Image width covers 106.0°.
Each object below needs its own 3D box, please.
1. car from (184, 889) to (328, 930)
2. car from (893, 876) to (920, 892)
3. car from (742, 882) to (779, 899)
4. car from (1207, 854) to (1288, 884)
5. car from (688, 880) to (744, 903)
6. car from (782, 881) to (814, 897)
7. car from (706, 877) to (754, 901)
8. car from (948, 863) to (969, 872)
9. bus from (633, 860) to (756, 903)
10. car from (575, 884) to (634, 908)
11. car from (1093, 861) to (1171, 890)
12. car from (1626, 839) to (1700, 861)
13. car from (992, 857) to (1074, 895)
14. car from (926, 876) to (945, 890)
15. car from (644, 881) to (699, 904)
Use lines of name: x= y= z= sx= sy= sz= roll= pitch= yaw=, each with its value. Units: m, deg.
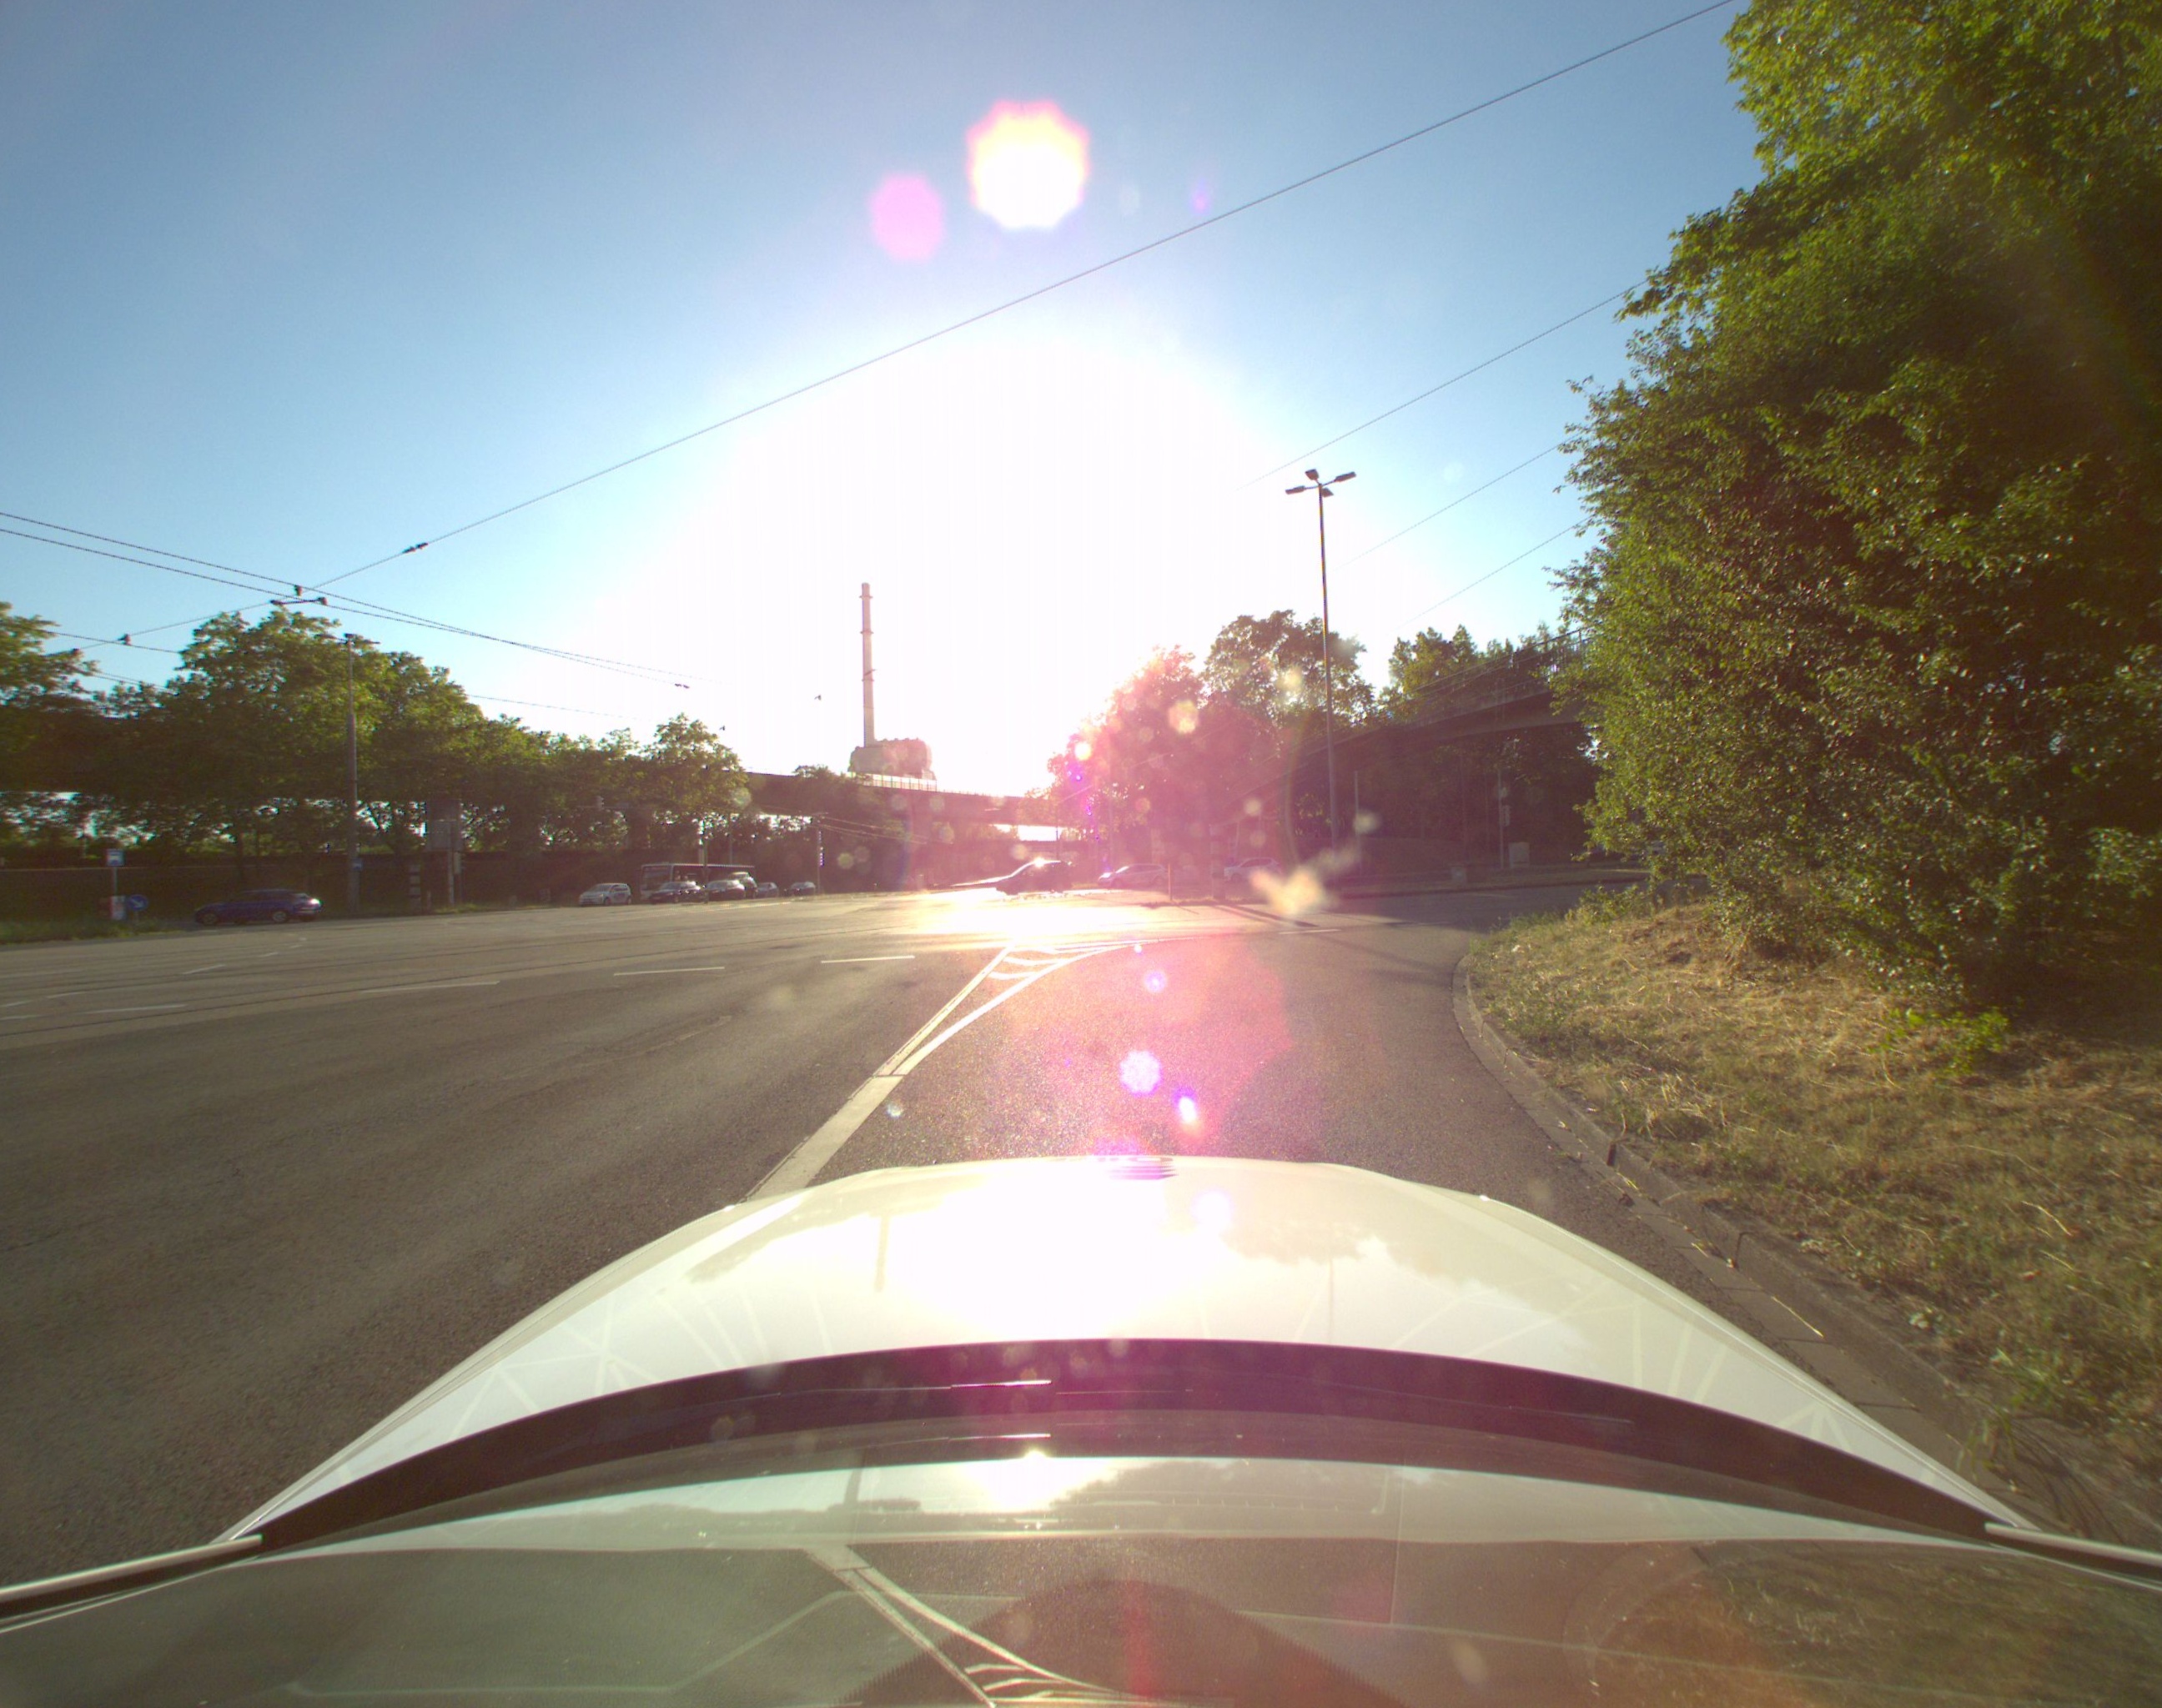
car: x=-35.932 y=2.387 z=35.610 sx=3.928 sy=1.559 sz=1.990 roll=-1 pitch=-1 yaw=-14
car: x=-24.184 y=4.094 z=113.064 sx=1.983 sy=2.014 sz=5.436 roll=-2 pitch=-1 yaw=7
car: x=-29.460 y=3.321 z=75.046 sx=1.693 sy=1.442 sz=4.002 roll=-1 pitch=-1 yaw=2
car: x=9.841 y=0.885 z=48.175 sx=4.305 sy=1.609 sz=1.846 roll=-1 pitch=-1 yaw=-18
car: x=-23.988 y=2.419 z=53.695 sx=1.704 sy=1.354 sz=4.097 roll=-1 pitch=-1 yaw=2
car: x=-28.374 y=3.485 z=81.800 sx=1.693 sy=1.442 sz=4.002 roll=-1 pitch=-1 yaw=2
car: x=-26.760 y=2.662 z=62.198 sx=1.704 sy=1.652 sz=4.097 roll=-1 pitch=-1 yaw=2
car: x=-24.022 y=2.654 z=159.991 sx=1.974 sy=1.771 sz=4.025 roll=-2 pitch=-2 yaw=33
bus: x=-30.056 y=2.045 z=64.357 sx=2.810 sy=2.954 sz=12.864 roll=-1 pitch=-1 yaw=4
car: x=-30.628 y=2.666 z=52.469 sx=1.599 sy=1.354 sz=3.733 roll=-1 pitch=-1 yaw=0
car: x=3.129 y=1.279 z=49.666 sx=4.367 sy=1.609 sz=1.846 roll=-1 pitch=-1 yaw=-18
car: x=42.871 y=-0.316 z=60.042 sx=4.859 sy=1.443 sz=1.999 roll=-2 pitch=0 yaw=-19
car: x=-2.624 y=1.173 z=44.246 sx=4.144 sy=1.867 sz=1.845 roll=-1 pitch=-1 yaw=-18
car: x=-17.566 y=3.507 z=98.495 sx=1.707 sy=1.652 sz=4.091 roll=-1 pitch=-1 yaw=-2
car: x=-26.816 y=2.502 z=53.433 sx=1.599 sy=1.354 sz=3.999 roll=-1 pitch=-1 yaw=0
